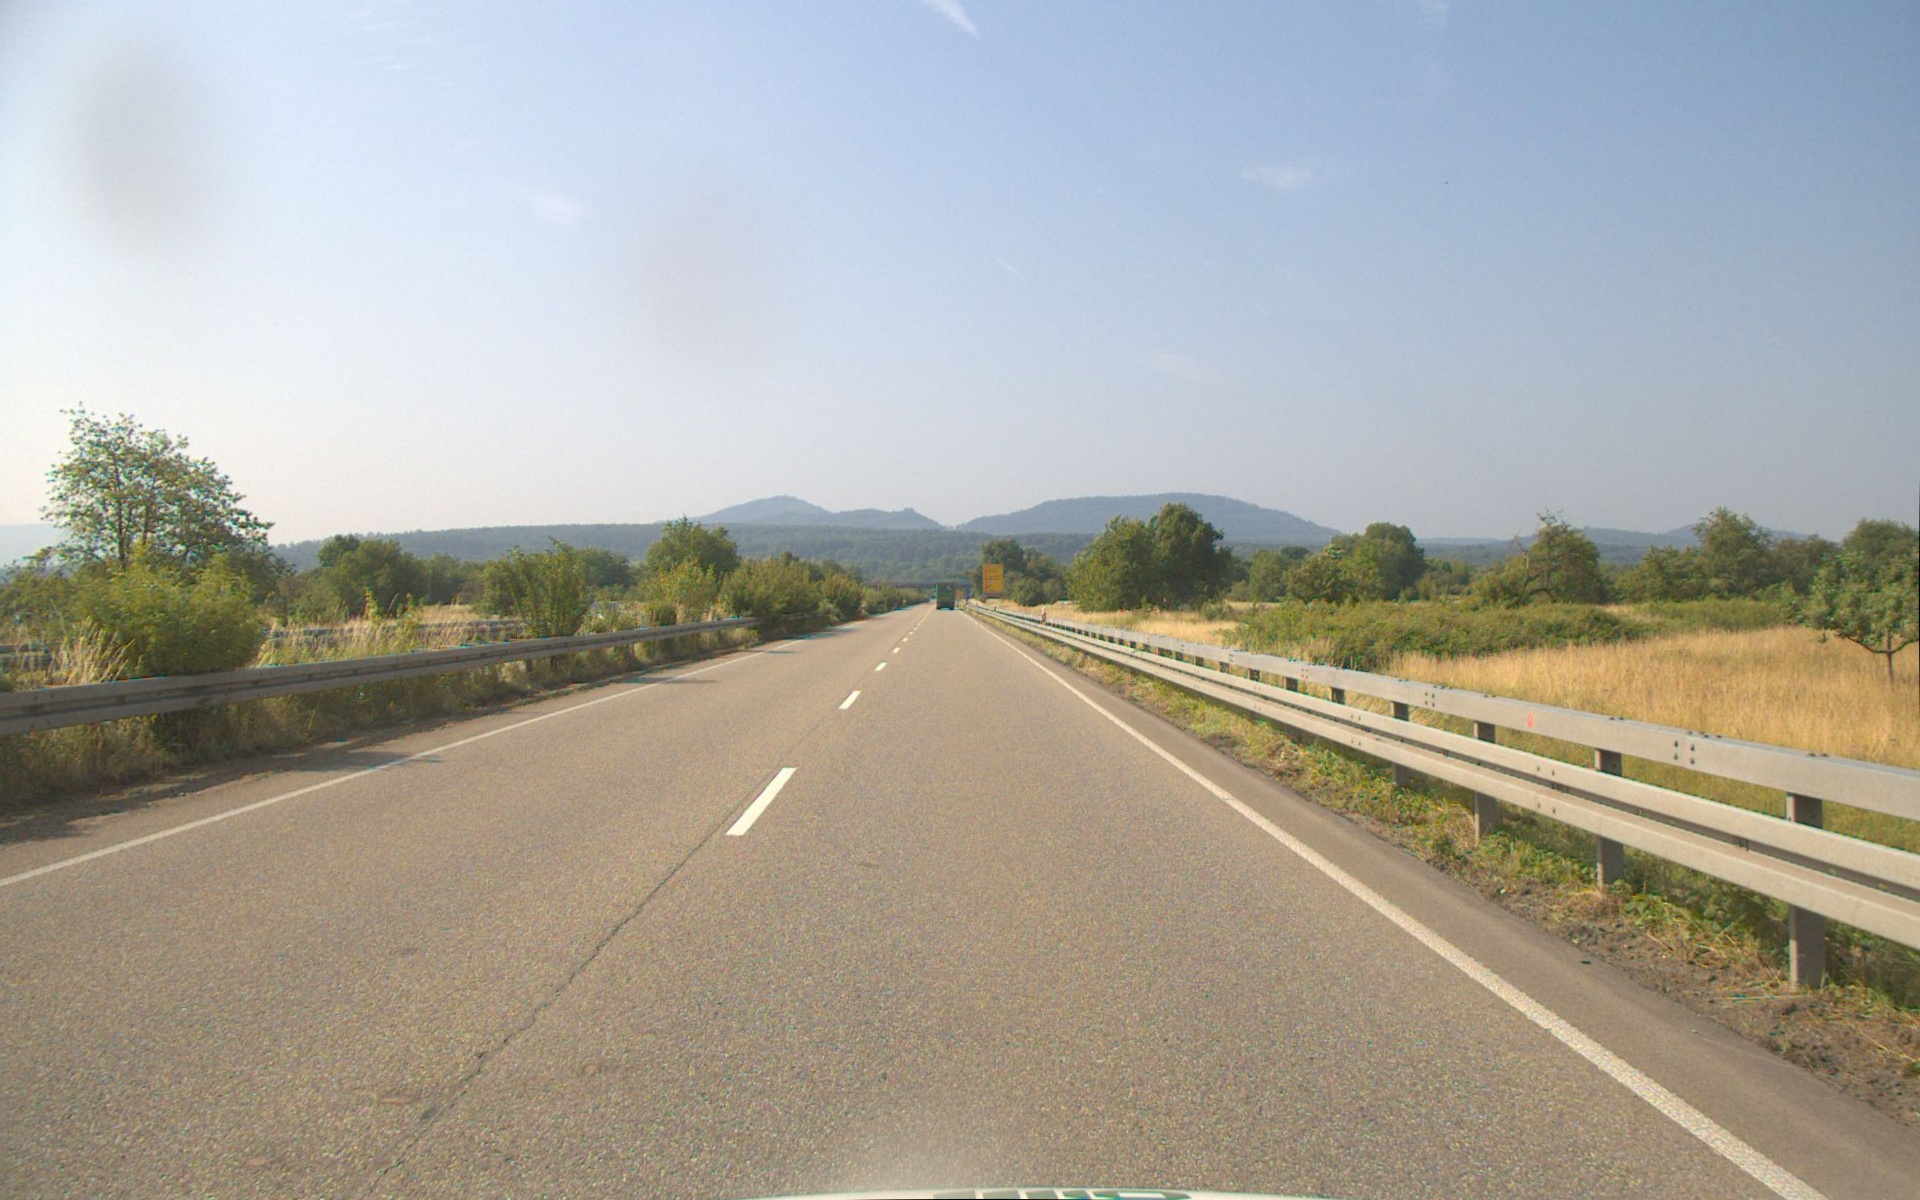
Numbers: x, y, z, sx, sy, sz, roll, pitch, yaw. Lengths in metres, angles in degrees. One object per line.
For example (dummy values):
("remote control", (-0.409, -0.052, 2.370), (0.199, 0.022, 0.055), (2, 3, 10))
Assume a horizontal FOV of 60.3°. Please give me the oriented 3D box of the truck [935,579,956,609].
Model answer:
("truck", (-2.011, -0.857, 228.410), (2.666, 4.034, 10.415), (1, 1, 0))
